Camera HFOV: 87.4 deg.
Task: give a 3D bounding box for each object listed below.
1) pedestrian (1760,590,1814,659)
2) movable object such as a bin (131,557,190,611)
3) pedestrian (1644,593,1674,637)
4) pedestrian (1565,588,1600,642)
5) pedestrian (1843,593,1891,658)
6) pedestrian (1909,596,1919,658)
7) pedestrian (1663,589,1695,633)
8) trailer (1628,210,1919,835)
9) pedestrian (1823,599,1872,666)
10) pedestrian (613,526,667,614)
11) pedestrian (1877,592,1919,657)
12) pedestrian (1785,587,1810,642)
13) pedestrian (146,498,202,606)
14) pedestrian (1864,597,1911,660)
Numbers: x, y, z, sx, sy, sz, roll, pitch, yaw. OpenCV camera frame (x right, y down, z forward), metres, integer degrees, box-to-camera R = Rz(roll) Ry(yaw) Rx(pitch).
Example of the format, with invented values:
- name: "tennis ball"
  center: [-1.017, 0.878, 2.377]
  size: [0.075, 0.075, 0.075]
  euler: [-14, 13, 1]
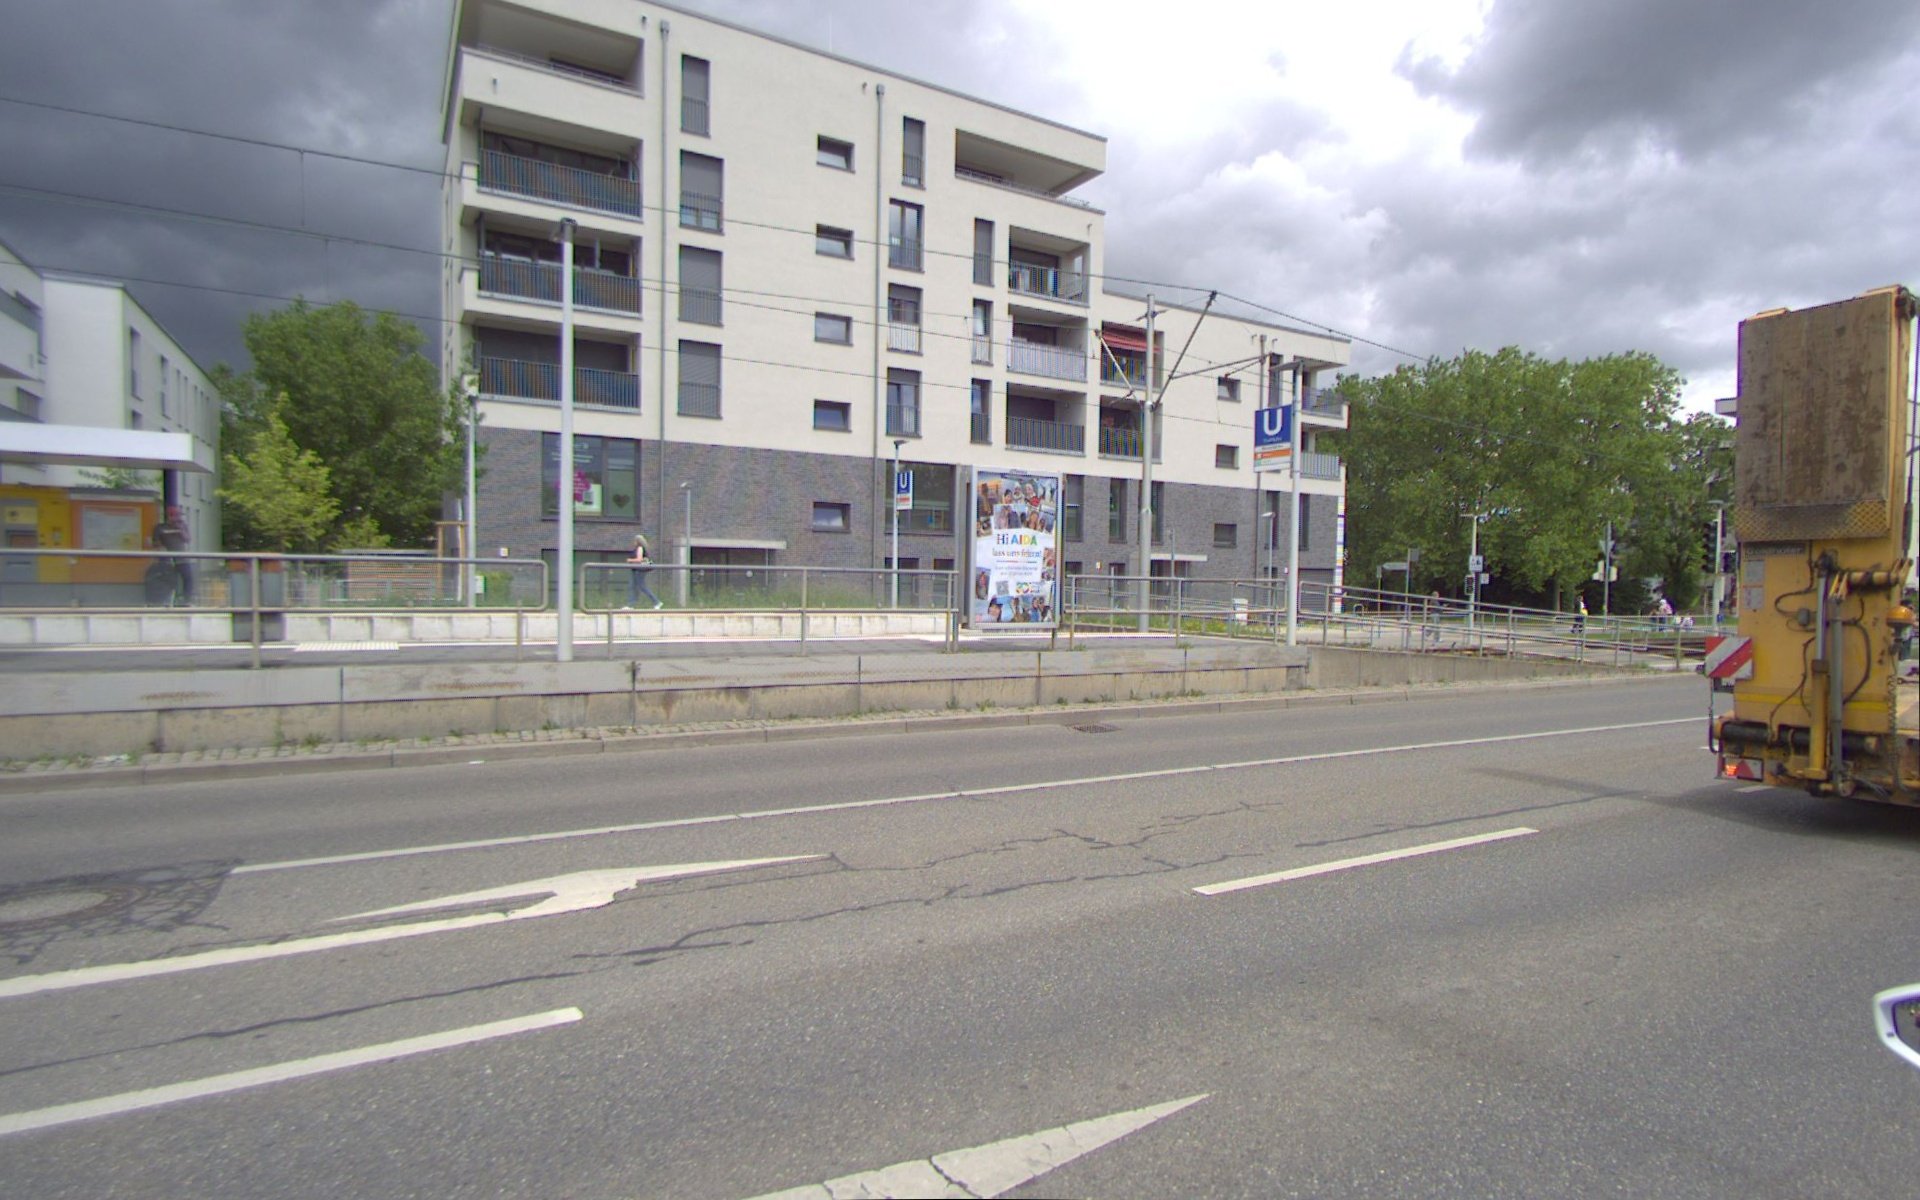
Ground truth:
- name: "pedestrian"
  center: [20.951, 0.618, 25.464]
  size: [0.675, 1.691, 0.816]
  euler: [0, 2, -29]
- name: "movable object such as a bin"
  center: [-13.228, -0.263, 16.628]
  size: [0.669, 0.861, 0.559]
  euler: [0, 2, -29]
- name: "pedestrian"
  center: [35.435, 0.752, 50.938]
  size: [0.924, 2.162, 0.910]
  euler: [0, 2, -31]
- name: "pedestrian"
  center: [26.378, 0.618, 42.582]
  size: [0.872, 2.234, 0.910]
  euler: [0, 2, -31]
- name: "pedestrian"
  center: [23.335, 0.648, 25.849]
  size: [0.814, 1.624, 0.678]
  euler: [0, 2, -31]
- name: "pedestrian"
  center: [26.569, 0.745, 27.445]
  size: [0.932, 1.692, 0.825]
  euler: [0, 2, -42]
- name: "pedestrian"
  center: [35.818, 0.556, 50.036]
  size: [0.924, 2.162, 0.910]
  euler: [0, 2, -31]
- name: "trailer"
  center: [10.231, -0.403, 8.801]
  size: [11.124, 3.607, 2.715]
  euler: [1, 2, -31]
- name: "pedestrian"
  center: [22.314, 0.810, 25.262]
  size: [0.814, 1.624, 0.678]
  euler: [0, 2, -31]
- name: "pedestrian"
  center: [-6.691, -0.612, 20.987]
  size: [0.923, 1.789, 0.671]
  euler: [0, 2, -32]
- name: "pedestrian"
  center: [25.444, 0.656, 27.171]
  size: [0.814, 1.692, 0.678]
  euler: [0, 2, -31]
- name: "pedestrian"
  center: [43.108, 0.729, 51.691]
  size: [0.733, 2.812, 0.684]
  euler: [0, 2, -31]
- name: "pedestrian"
  center: [-13.355, -0.800, 17.084]
  size: [0.669, 1.789, 0.559]
  euler: [0, 2, -29]
- name: "pedestrian"
  center: [24.509, 0.744, 26.551]
  size: [0.814, 1.624, 0.678]
  euler: [0, 2, -31]
